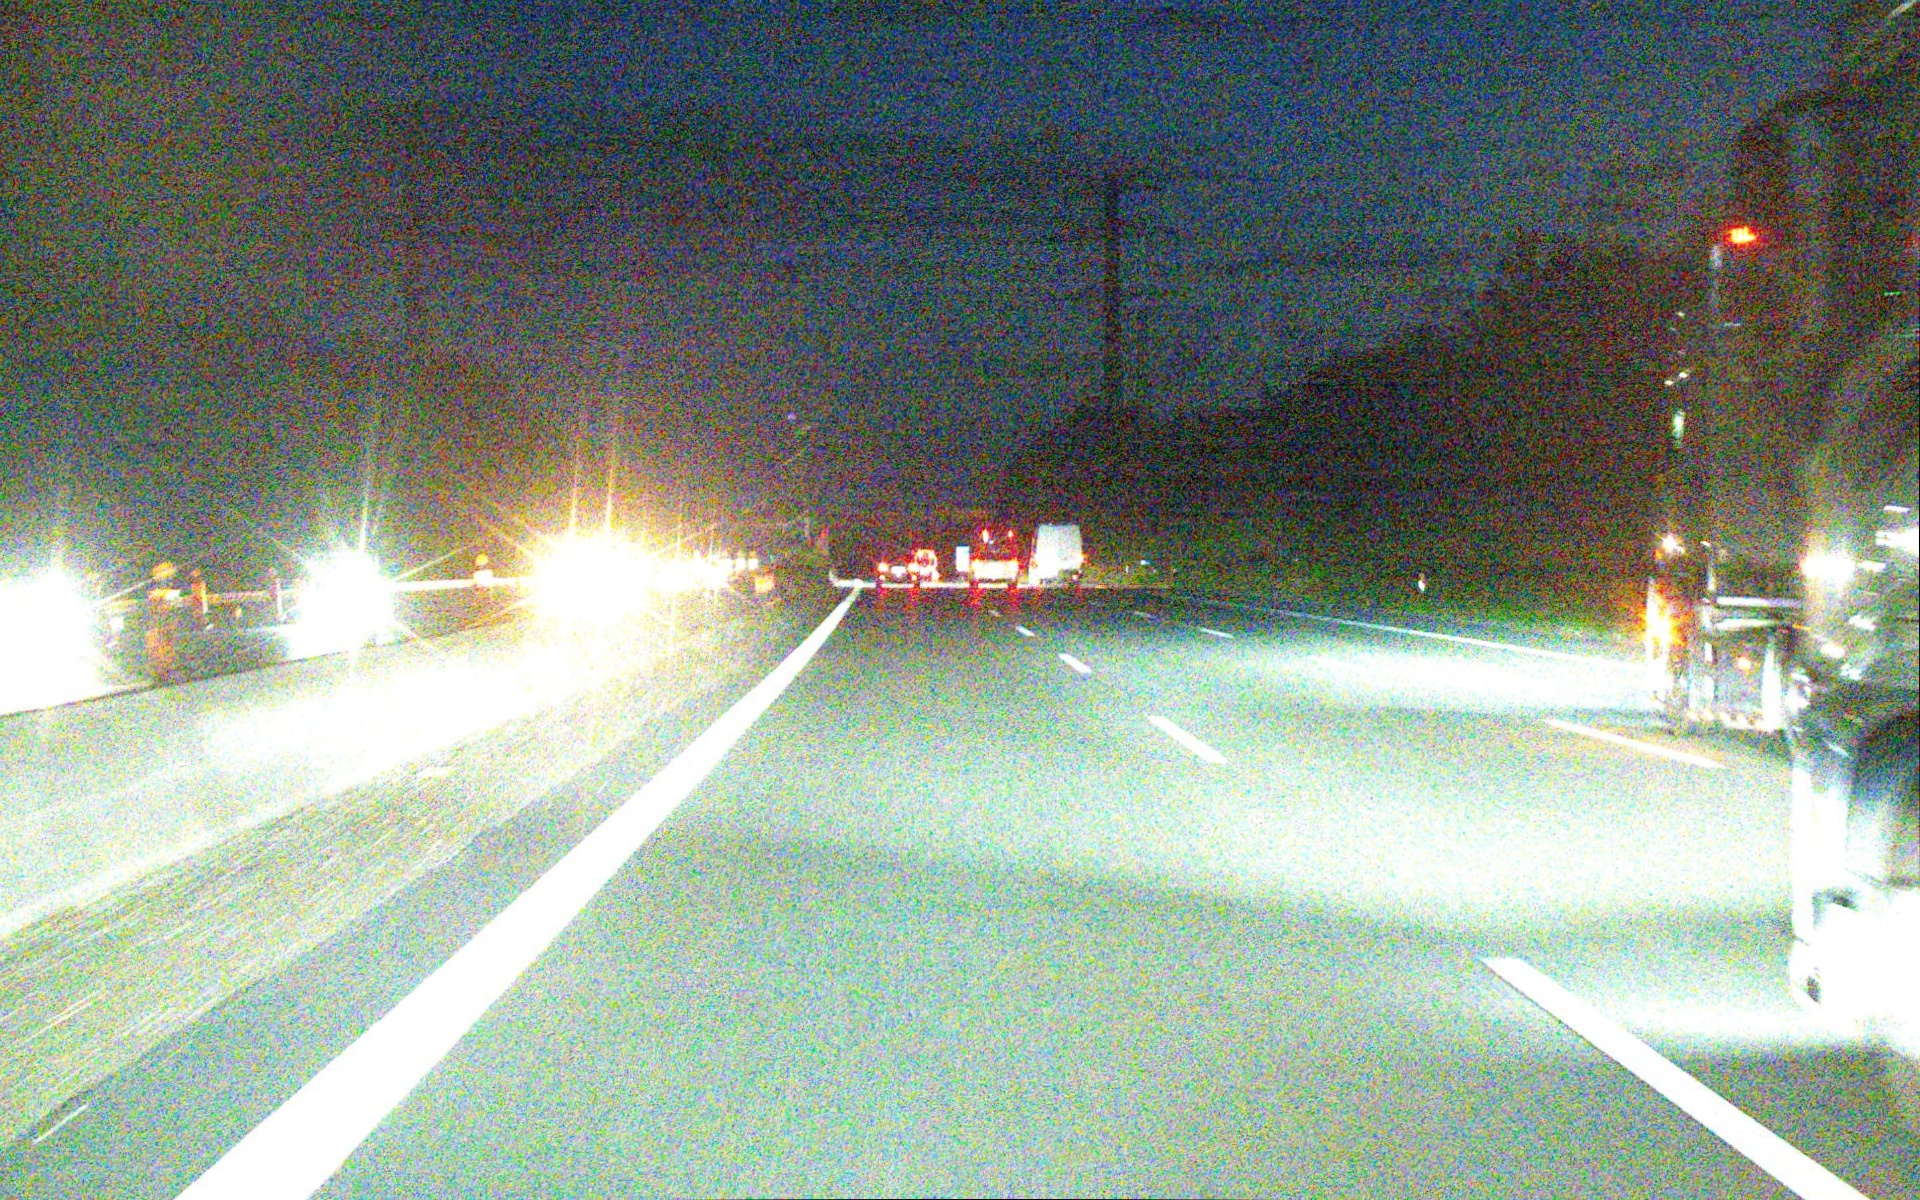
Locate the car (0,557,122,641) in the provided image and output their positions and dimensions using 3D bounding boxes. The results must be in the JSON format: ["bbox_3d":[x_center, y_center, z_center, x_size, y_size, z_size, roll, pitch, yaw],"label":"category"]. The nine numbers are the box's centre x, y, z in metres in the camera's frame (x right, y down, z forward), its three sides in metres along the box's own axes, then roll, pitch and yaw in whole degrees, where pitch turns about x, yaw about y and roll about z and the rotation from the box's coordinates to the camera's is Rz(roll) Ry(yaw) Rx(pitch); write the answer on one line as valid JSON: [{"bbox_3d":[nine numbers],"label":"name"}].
[{"bbox_3d":[-15.562,-0.039,58.343,1.662,1.329,4.810,-2,1,-2],"label":"car"}]

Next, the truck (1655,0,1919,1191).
[{"bbox_3d":[3.610,-0.686,7.417,2.662,4.192,6.723,2,1,-1],"label":"truck"}]

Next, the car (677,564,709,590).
[{"bbox_3d":[-16.158,-1.419,208.435,1.750,1.473,4.583,-2,1,-2],"label":"car"}]

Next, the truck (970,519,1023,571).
[{"bbox_3d":[2.408,-3.683,230.333,3.044,3.313,10.142,2,1,-2],"label":"truck"}]

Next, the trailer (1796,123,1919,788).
[{"bbox_3d":[7.168,-0.826,18.659,2.591,4.058,10.009,2,1,-1],"label":"trailer"}]

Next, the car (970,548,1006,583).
[{"bbox_3d":[1.137,-1.418,140.537,1.346,1.382,3.502,2,1,-1],"label":"car"}]

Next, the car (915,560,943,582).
[{"bbox_3d":[-2.154,-1.996,239.344,1.821,1.461,4.248,2,1,-1],"label":"car"}]

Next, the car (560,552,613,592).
[{"bbox_3d":[-14.680,-1.119,135.249,1.750,1.473,4.583,-2,1,-2],"label":"car"}]

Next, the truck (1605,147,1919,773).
[{"bbox_3d":[7.038,-0.939,26.222,2.591,4.058,7.674,2,1,-1],"label":"truck"}]

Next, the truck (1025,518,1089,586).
[{"bbox_3d":[4.212,-2.058,149.944,2.076,2.682,7.308,1,-1,-3],"label":"truck"}]

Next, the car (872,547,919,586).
[{"bbox_3d":[-2.626,-1.361,138.416,1.821,1.461,4.248,2,1,-1],"label":"car"}]

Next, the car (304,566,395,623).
[{"bbox_3d":[-15.869,-0.164,89.520,1.631,1.389,4.878,-2,1,-2],"label":"car"}]
